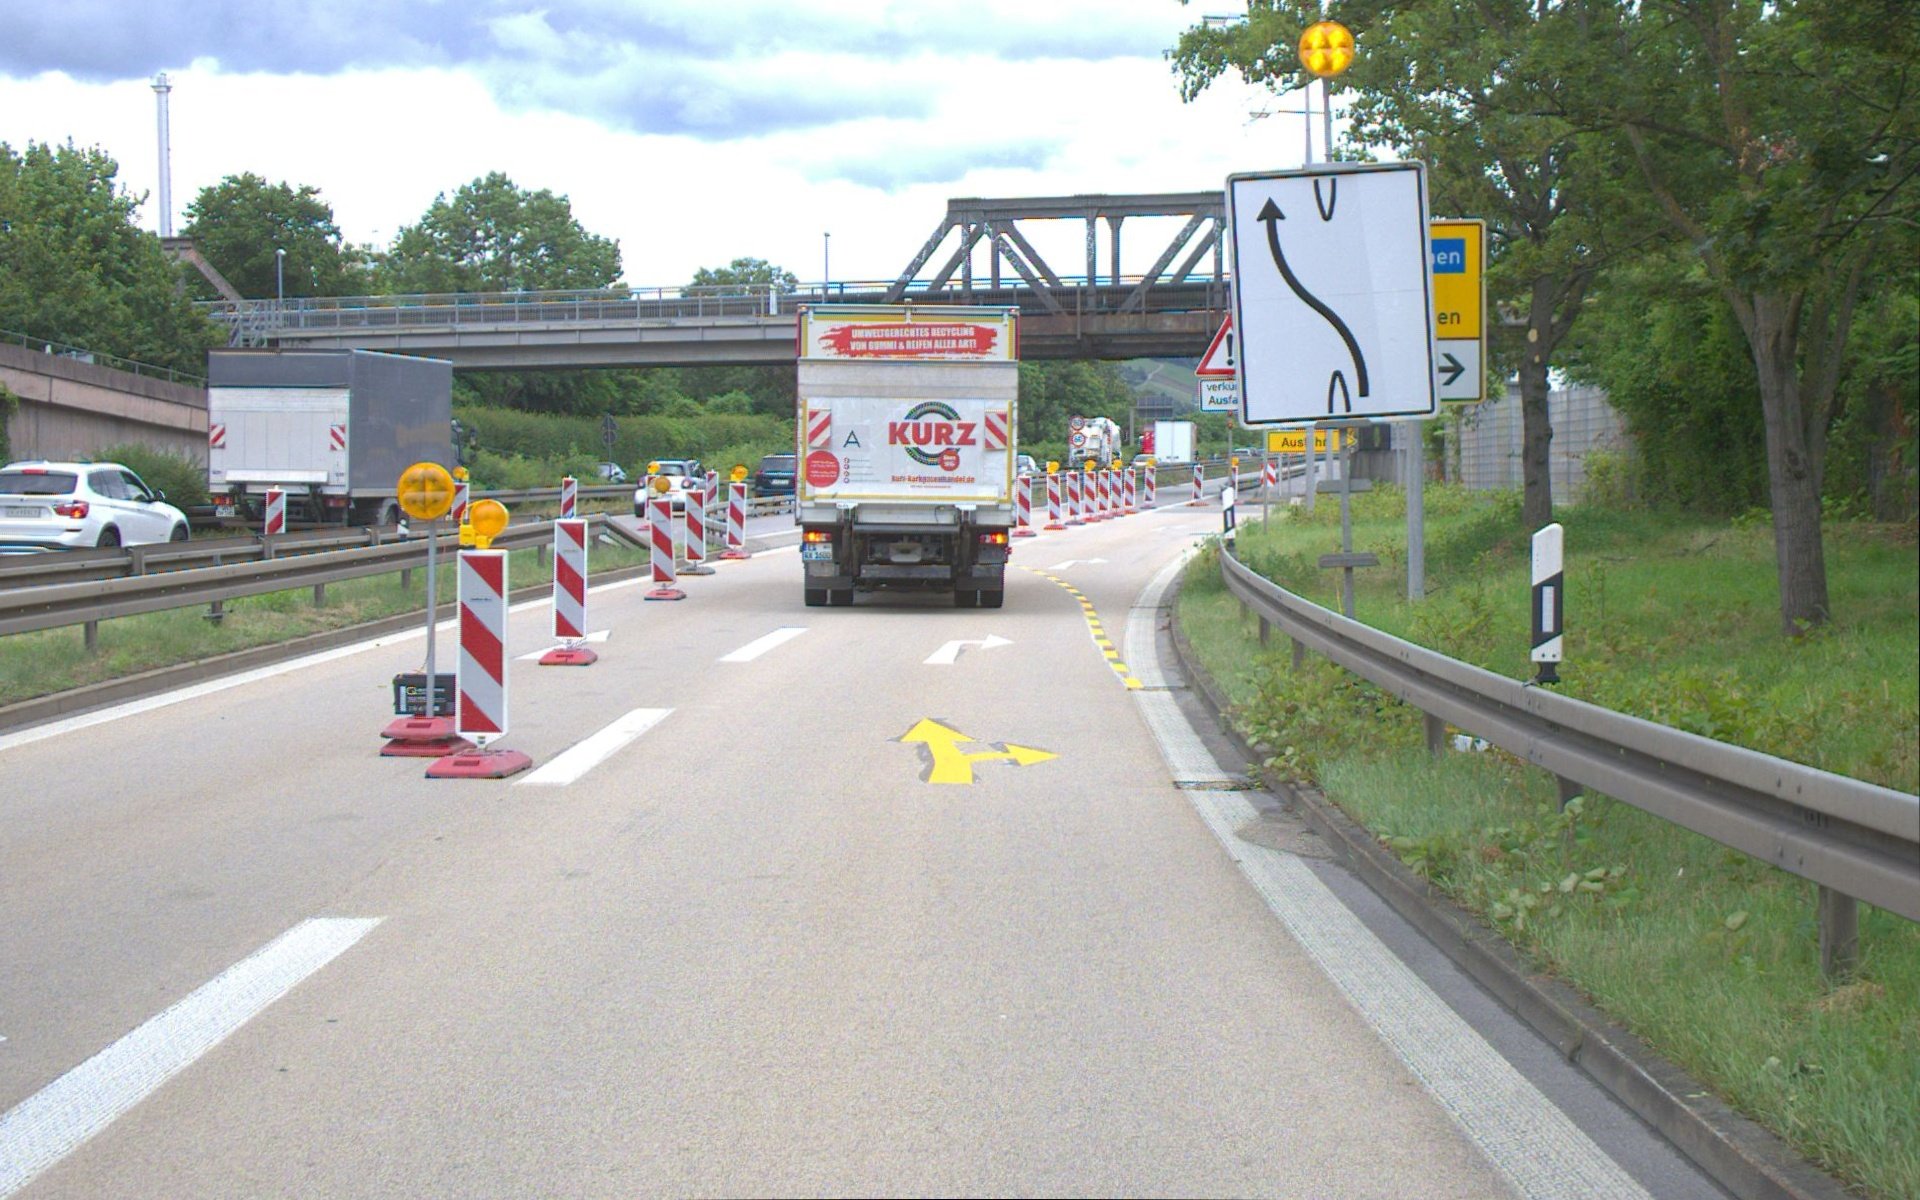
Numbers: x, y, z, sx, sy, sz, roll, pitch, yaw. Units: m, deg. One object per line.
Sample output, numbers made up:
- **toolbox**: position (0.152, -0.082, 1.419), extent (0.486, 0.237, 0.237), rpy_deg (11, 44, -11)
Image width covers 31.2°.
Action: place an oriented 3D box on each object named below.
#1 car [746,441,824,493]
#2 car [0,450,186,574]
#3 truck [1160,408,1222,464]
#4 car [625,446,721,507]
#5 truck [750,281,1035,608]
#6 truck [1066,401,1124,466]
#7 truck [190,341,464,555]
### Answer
- **car**: position (-5.558, -4.217, 109.558), extent (1.994, 1.612, 4.000), rpy_deg (0, 2, 4)
- **car**: position (-12.921, -1.289, 49.811), extent (1.994, 1.706, 4.100), rpy_deg (0, 2, 8)
- **truck**: position (15.132, -10.722, 225.923), extent (3.908, 3.536, 8.140), rpy_deg (0, 2, 3)
- **car**: position (-7.714, -3.324, 92.764), extent (1.994, 1.612, 4.000), rpy_deg (0, 2, 4)
- **truck**: position (-0.669, -1.874, 42.476), extent (3.051, 3.660, 7.927), rpy_deg (0, 2, 2)
- **truck**: position (8.223, -10.111, 209.221), extent (3.287, 3.839, 7.664), rpy_deg (0, 2, 4)
- **truck**: position (-11.382, -2.724, 62.564), extent (3.051, 3.643, 7.395), rpy_deg (0, 2, 5)
